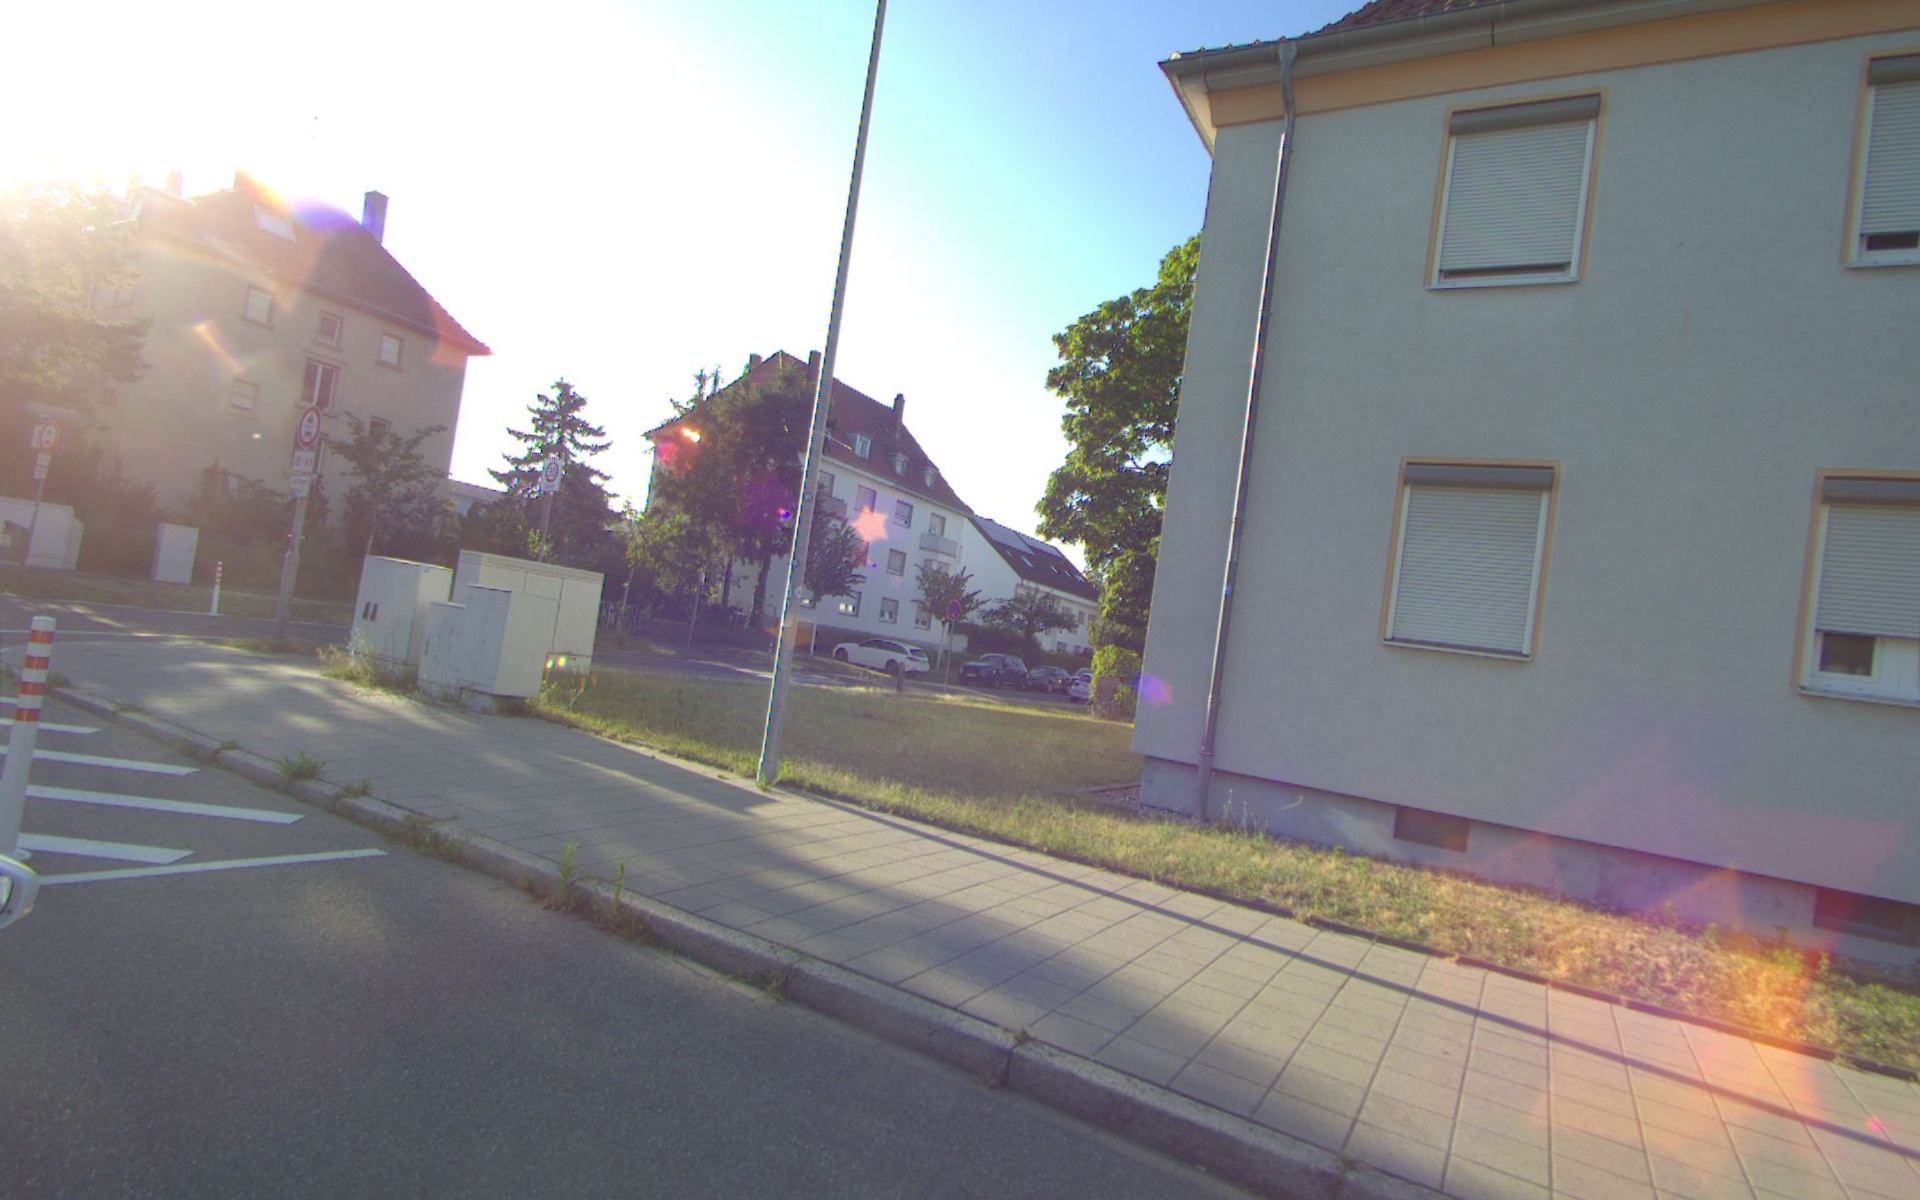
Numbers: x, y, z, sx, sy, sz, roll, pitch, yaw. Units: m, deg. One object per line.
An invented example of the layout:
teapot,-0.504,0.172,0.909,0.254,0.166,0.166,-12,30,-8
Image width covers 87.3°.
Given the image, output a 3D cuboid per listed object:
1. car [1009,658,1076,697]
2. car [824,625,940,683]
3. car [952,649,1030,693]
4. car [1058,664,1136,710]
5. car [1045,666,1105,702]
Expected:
car,4.433,4.126,53.200,1.937,1.631,4.248,7,-3,27
car,-3.545,2.438,45.512,4.754,1.632,1.971,10,-1,29
car,1.536,3.405,47.509,1.937,1.631,4.248,7,-3,27
car,6.259,3.962,45.512,1.938,1.631,4.246,7,-3,30
car,6.674,4.866,57.816,1.937,1.631,4.248,7,-3,27
